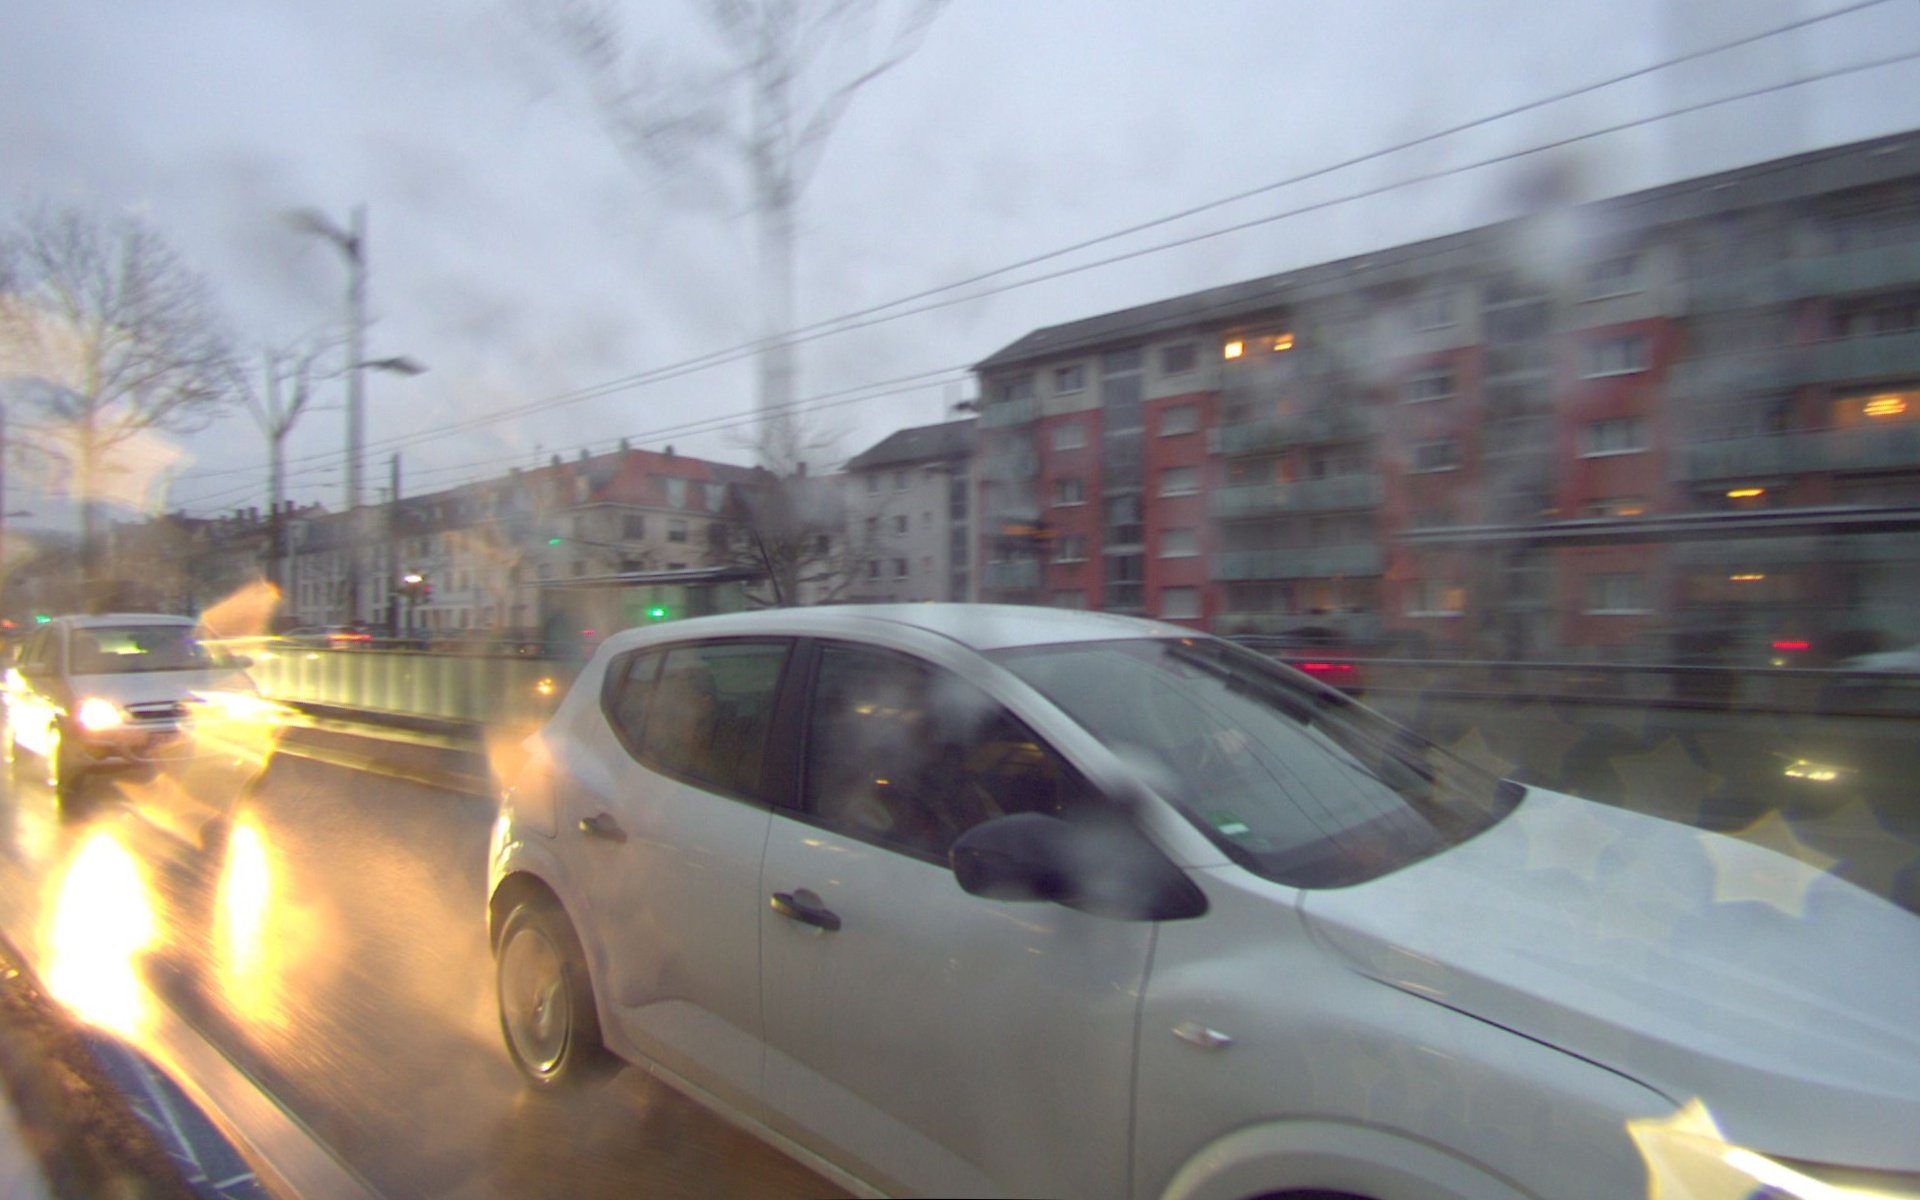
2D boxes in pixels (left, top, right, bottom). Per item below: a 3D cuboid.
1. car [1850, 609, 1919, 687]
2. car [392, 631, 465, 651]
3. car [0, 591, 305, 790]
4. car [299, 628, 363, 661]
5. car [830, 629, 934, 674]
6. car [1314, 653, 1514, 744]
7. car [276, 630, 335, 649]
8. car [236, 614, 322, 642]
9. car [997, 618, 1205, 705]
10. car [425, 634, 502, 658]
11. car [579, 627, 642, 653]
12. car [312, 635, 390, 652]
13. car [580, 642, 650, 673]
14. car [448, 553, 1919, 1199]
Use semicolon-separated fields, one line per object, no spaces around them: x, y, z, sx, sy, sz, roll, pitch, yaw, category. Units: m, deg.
20.812;0.978;20.427;1.705;1.555;4.154;0;0;-44;car
-33.863;2.588;64.521;3.932;1.140;1.366;0;0;-16;car
-8.665;0.773;10.698;3.999;1.690;1.994;0;0;42;car
-33.383;2.323;53.681;3.740;1.651;1.509;0;-1;35;car
-2.658;1.703;34.111;3.372;1.368;1.571;0;0;39;car
10.571;2.222;23.702;3.995;1.772;1.675;0;0;39;car
-49.579;2.979;76.686;3.547;1.395;1.317;0;-2;-20;car
-57.686;2.361;85.827;5.808;2.271;1.827;0;0;-18;car
3.475;1.452;25.560;4.897;1.927;2.003;0;0;39;car
-29.595;2.721;60.424;3.931;1.265;1.448;0;0;-18;car
-20.138;2.296;58.291;3.995;1.378;1.501;0;0;38;car
-40.877;2.910;67.979;4.330;1.140;1.251;1;0;-18;car
-11.945;1.969;35.039;2.488;0.945;1.133;-1;-1;39;car
0.404;0.696;2.611;3.997;1.477;1.690;0;0;41;car
